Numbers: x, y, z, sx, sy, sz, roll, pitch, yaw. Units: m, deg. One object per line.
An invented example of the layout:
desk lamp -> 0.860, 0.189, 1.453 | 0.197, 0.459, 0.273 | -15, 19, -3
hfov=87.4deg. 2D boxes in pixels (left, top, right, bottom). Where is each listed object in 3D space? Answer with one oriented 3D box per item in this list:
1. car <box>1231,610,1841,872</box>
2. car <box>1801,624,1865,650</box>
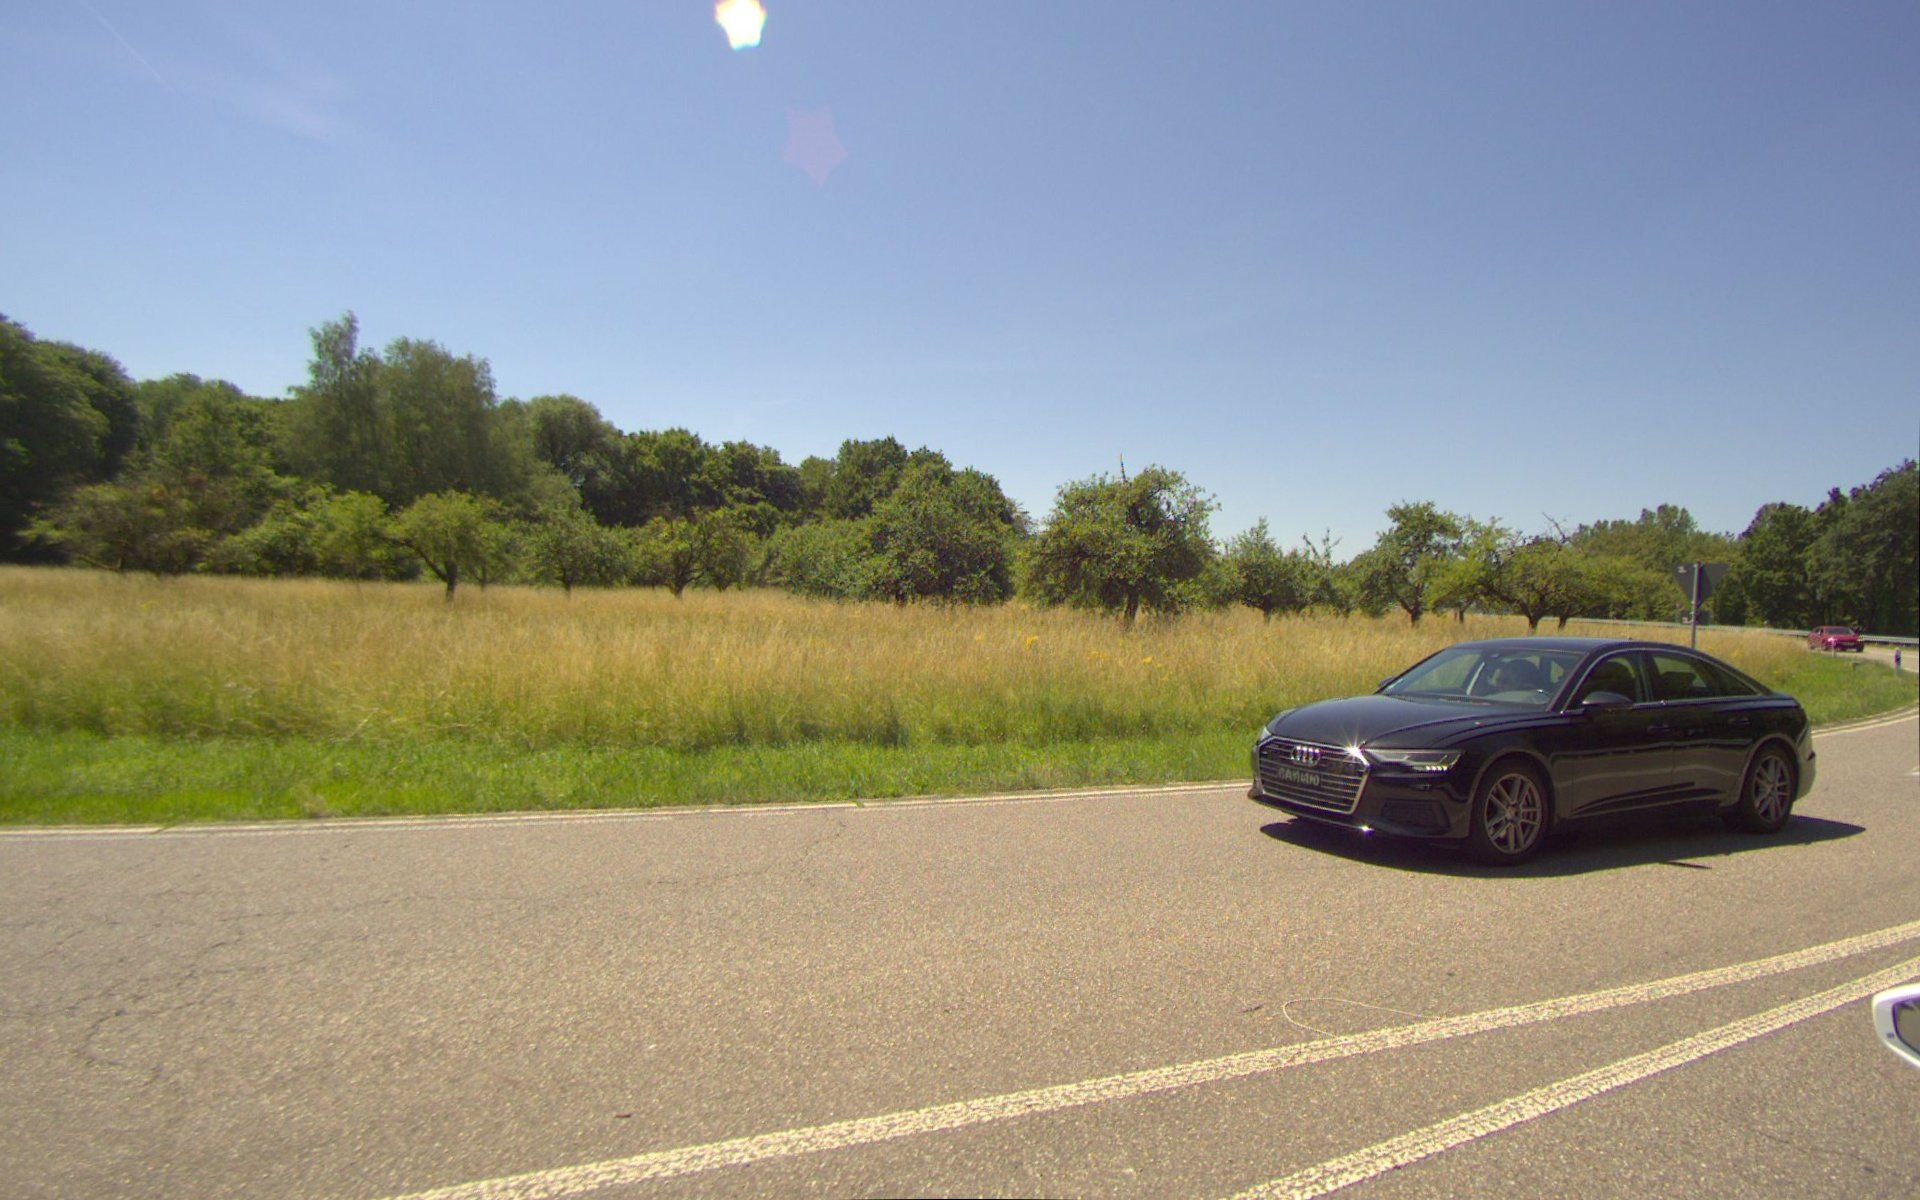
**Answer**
car -> 4.466, 0.936, 7.698 | 4.597, 1.526, 1.797 | 2, -3, -26
car -> 52.164, 2.244, 60.107 | 1.794, 1.477, 4.396 | -1, -3, 26
